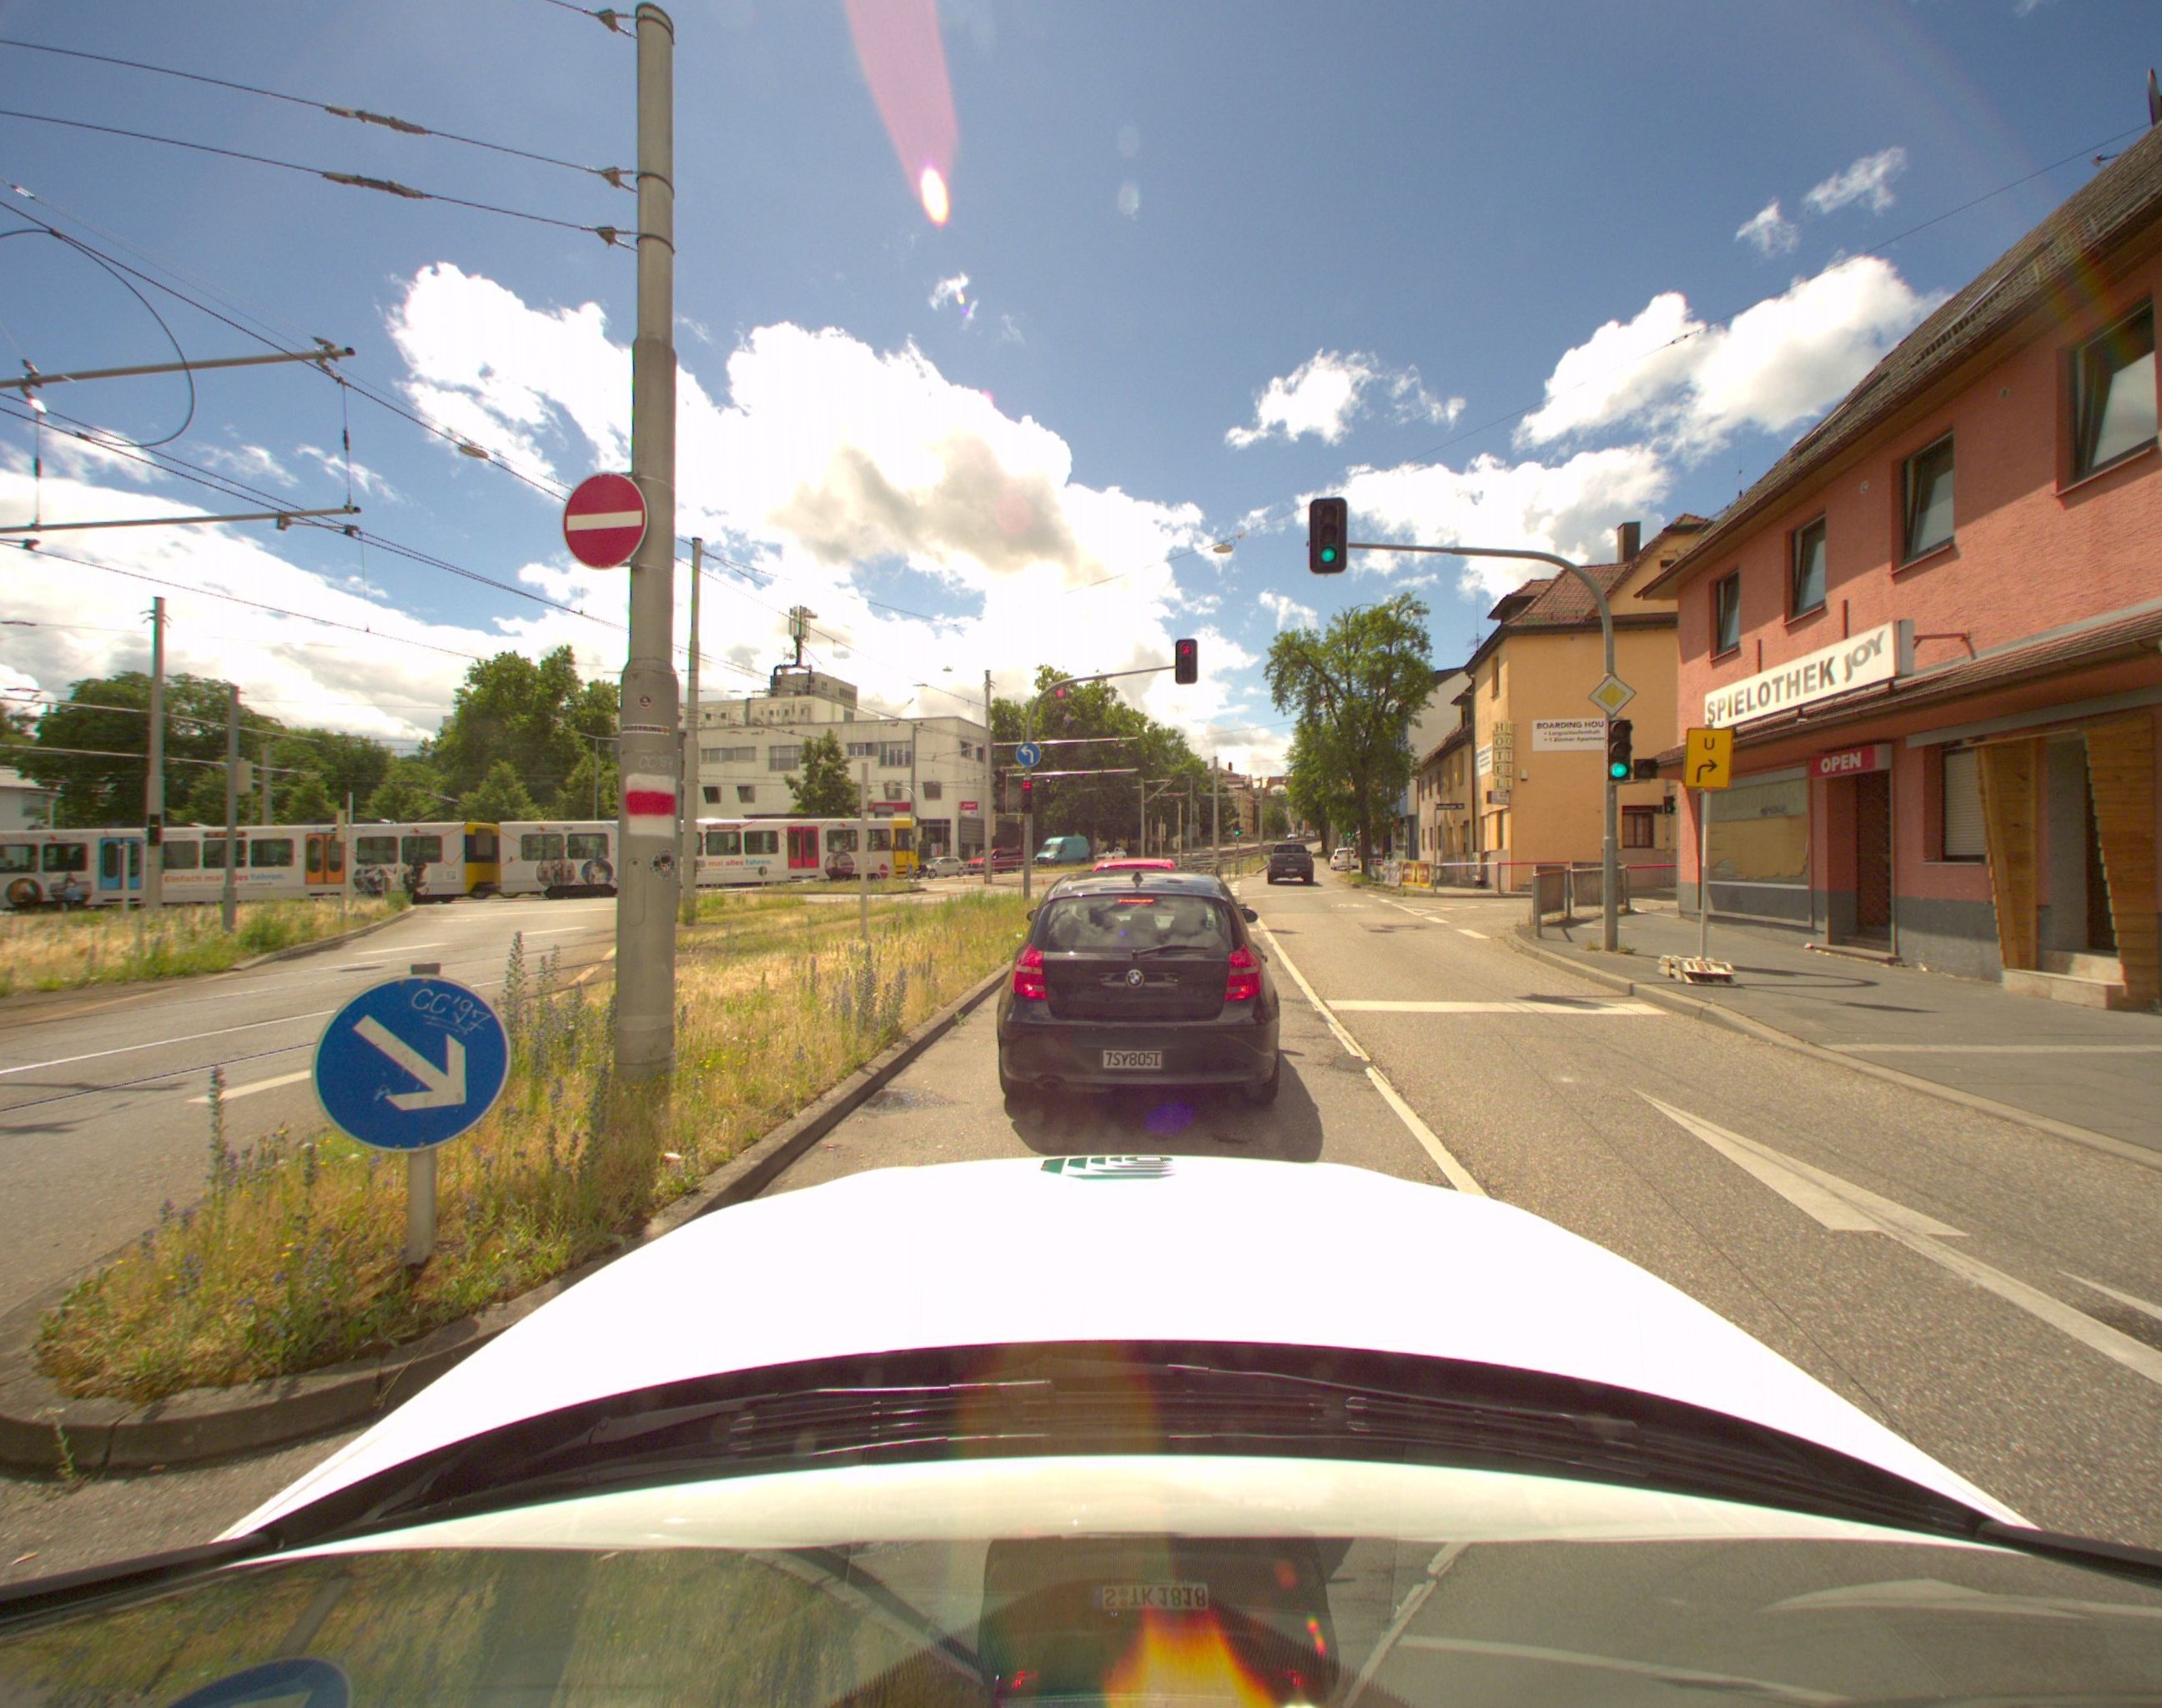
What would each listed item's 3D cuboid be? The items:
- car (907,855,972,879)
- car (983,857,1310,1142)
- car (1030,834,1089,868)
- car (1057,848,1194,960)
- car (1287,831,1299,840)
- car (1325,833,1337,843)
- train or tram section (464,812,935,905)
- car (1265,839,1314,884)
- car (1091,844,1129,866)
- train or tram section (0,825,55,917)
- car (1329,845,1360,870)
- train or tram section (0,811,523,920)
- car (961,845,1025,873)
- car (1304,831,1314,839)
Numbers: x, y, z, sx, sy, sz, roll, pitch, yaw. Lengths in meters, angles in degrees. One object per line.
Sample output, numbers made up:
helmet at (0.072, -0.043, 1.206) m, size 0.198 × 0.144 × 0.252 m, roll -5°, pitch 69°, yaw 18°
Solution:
car at (-9.860, 0.902, 56.856) m, size 1.835 × 1.585 × 4.195 m, roll -3°, pitch -1°, yaw 41°
car at (0.340, 0.796, 6.315) m, size 1.696 × 1.452 × 3.999 m, roll -2°, pitch -1°, yaw 0°
car at (-1.753, -0.233, 67.951) m, size 2.110 × 2.654 × 5.726 m, roll -2°, pitch -1°, yaw 31°
car at (0.857, 0.698, 12.905) m, size 1.615 × 1.473 × 4.011 m, roll -2°, pitch -1°, yaw 10°
car at (48.656, -4.222, 186.913) m, size 1.976 × 2.014 × 4.022 m, roll -2°, pitch -1°, yaw 23°
car at (47.669, -3.091, 155.210) m, size 1.977 × 1.662 × 4.020 m, roll -2°, pitch -1°, yaw 20°
train or tram section at (-17.477, 0.050, 40.040) m, size 20.101 × 3.814 × 3.727 m, roll -1°, pitch -1°, yaw -28°
car at (9.627, 0.356, 37.628) m, size 1.984 × 1.887 × 5.170 m, roll -2°, pitch -1°, yaw 15°
car at (2.792, 0.114, 76.119) m, size 1.836 × 1.928 × 4.824 m, roll -2°, pitch -1°, yaw 24°
train or tram section at (-54.812, 1.027, 35.138) m, size 19.962 × 3.829 × 3.771 m, roll -2°, pitch -1°, yaw 9°
car at (17.994, 0.228, 55.659) m, size 1.774 × 1.596 × 4.016 m, roll -2°, pitch -1°, yaw 15°
train or tram section at (-35.693, 0.486, 34.294) m, size 20.548 × 3.879 × 3.752 m, roll -2°, pitch -1°, yaw -7°
car at (-6.542, 0.366, 61.086) m, size 1.835 × 2.009 × 4.828 m, roll -3°, pitch -1°, yaw 40°
car at (57.693, -4.759, 206.017) m, size 1.976 × 2.014 × 4.022 m, roll -2°, pitch -1°, yaw 23°
